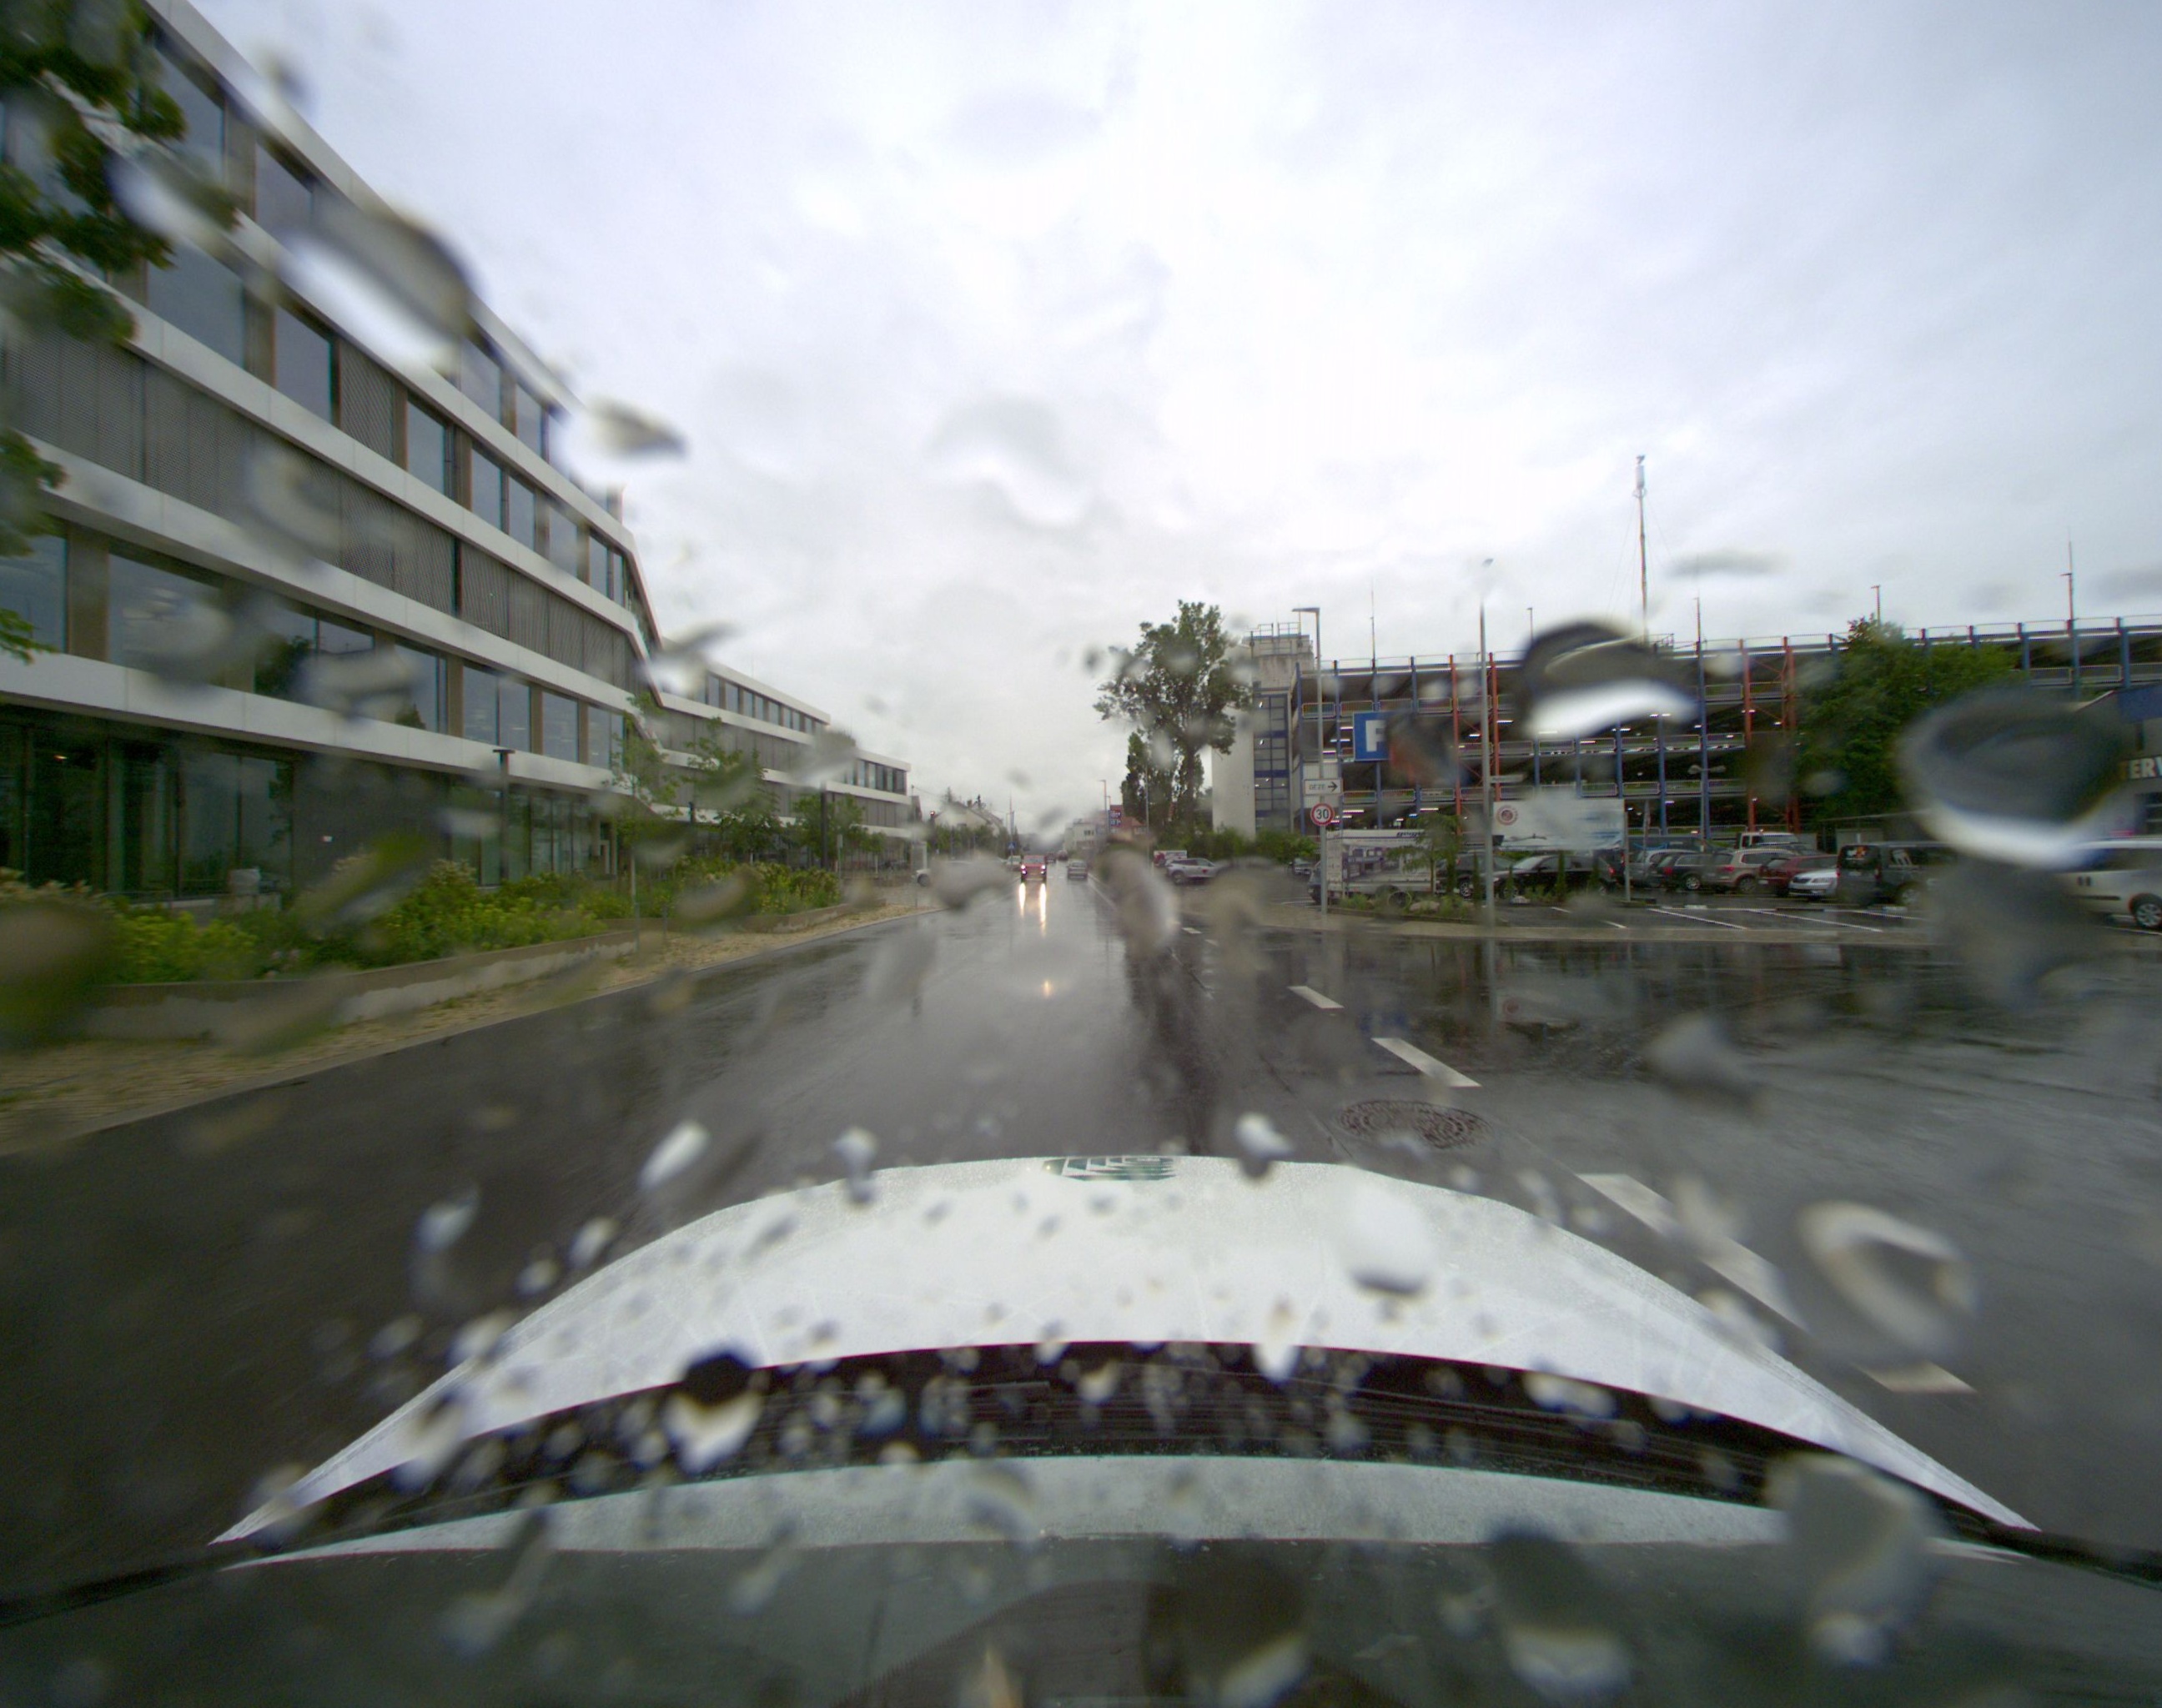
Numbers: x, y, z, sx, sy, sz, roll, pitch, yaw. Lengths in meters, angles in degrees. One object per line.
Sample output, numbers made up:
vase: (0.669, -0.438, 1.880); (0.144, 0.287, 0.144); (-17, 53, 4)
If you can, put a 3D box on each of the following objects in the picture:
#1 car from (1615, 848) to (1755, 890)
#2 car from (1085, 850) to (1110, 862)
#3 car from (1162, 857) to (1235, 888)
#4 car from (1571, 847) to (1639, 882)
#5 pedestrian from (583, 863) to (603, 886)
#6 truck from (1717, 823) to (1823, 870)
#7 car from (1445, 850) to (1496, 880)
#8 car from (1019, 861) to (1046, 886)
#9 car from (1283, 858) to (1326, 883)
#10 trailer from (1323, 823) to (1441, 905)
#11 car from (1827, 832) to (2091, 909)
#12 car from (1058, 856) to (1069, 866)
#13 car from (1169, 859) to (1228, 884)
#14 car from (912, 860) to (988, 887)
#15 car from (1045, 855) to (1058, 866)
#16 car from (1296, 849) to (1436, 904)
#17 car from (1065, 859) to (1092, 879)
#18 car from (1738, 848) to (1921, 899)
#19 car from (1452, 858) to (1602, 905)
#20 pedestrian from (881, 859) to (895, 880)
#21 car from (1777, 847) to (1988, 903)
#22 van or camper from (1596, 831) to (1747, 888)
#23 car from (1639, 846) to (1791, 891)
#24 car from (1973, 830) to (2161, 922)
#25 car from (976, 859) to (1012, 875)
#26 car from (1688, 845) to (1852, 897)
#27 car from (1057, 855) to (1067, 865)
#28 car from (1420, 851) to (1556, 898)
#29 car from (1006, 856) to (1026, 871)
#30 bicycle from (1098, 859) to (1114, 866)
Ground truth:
car: (25.062, 0.616, 33.934); (4.332, 1.583, 1.869); (-2, -1, 7)
car: (2.811, 0.361, 140.700); (4.105, 1.706, 1.785); (3, -2, -5)
car: (7.070, 1.114, 48.982); (4.184, 1.650, 2.004); (-3, -1, 8)
car: (30.287, 0.662, 47.197); (1.881, 1.814, 4.009); (3, -2, 9)
pedestrian: (-28.716, 1.199, 47.928); (0.901, 1.314, 1.052); (4, -3, -29)
truck: (38.116, -0.354, 45.247); (1.982, 2.269, 5.318); (3, -2, 8)
car: (23.091, 0.646, 48.408); (1.719, 1.679, 4.012); (-2, 0, 10)
car: (-3.676, 1.473, 62.463); (1.998, 1.818, 4.974); (0, -1, -3)
car: (13.635, 0.984, 49.787); (1.922, 1.442, 4.214); (-1, -1, 7)
trailer: (8.317, 0.271, 22.652); (2.693, 2.171, 1.548); (0, -1, 0)
car: (23.165, 0.451, 21.713); (4.443, 1.828, 1.900); (-2, -1, 14)
car: (-3.440, 1.317, 156.212); (1.988, 1.706, 3.996); (3, -2, -2)
car: (7.437, 1.116, 51.766); (3.601, 1.494, 1.810); (-2, -1, 7)
car: (-7.295, 1.082, 45.605); (3.916, 1.423, 1.897); (0, -1, -1)
car: (-5.181, 1.178, 144.739); (2.148, 1.706, 3.996); (3, -2, -2)
car: (8.779, 0.704, 25.259); (3.716, 1.529, 1.649); (-2, -2, -2)
car: (-0.270, 1.285, 69.302); (1.944, 1.556, 3.993); (3, -2, -4)
car: (24.563, 0.623, 26.855); (4.105, 1.497, 1.869); (-2, -1, 7)
car: (13.585, 0.816, 24.926); (3.720, 1.315, 1.690); (-1, -1, -5)
pedestrian: (-15.921, 1.249, 67.247); (1.011, 1.724, 0.771); (0, -1, -5)
car: (23.710, 0.612, 24.269); (4.099, 1.497, 1.871); (-2, -1, 12)
van or camper: (26.077, 0.257, 36.143); (4.930, 2.326, 2.226); (-2, -1, 5)
car: (24.578, 0.568, 31.717); (4.332, 1.583, 1.869); (-2, -1, 7)
car: (22.752, 0.424, 17.813); (1.877, 1.828, 4.500); (-2, -1, 8)
car: (-12.063, 1.803, 112.994); (4.745, 2.014, 1.996); (3, -2, -5)
car: (24.530, 0.593, 29.135); (4.105, 1.667, 1.869); (-2, -1, 7)
car: (-3.998, 1.244, 169.344); (1.988, 1.706, 3.996); (3, -2, -2)
car: (13.524, 0.661, 27.202); (3.720, 1.449, 1.728); (-1, -1, -5)
car: (-7.207, 1.068, 90.466); (1.988, 1.629, 4.150); (-1, 0, -2)
bicycle: (4.080, 1.383, 134.109); (0.673, 1.067, 3.591); (5, -3, -33)
